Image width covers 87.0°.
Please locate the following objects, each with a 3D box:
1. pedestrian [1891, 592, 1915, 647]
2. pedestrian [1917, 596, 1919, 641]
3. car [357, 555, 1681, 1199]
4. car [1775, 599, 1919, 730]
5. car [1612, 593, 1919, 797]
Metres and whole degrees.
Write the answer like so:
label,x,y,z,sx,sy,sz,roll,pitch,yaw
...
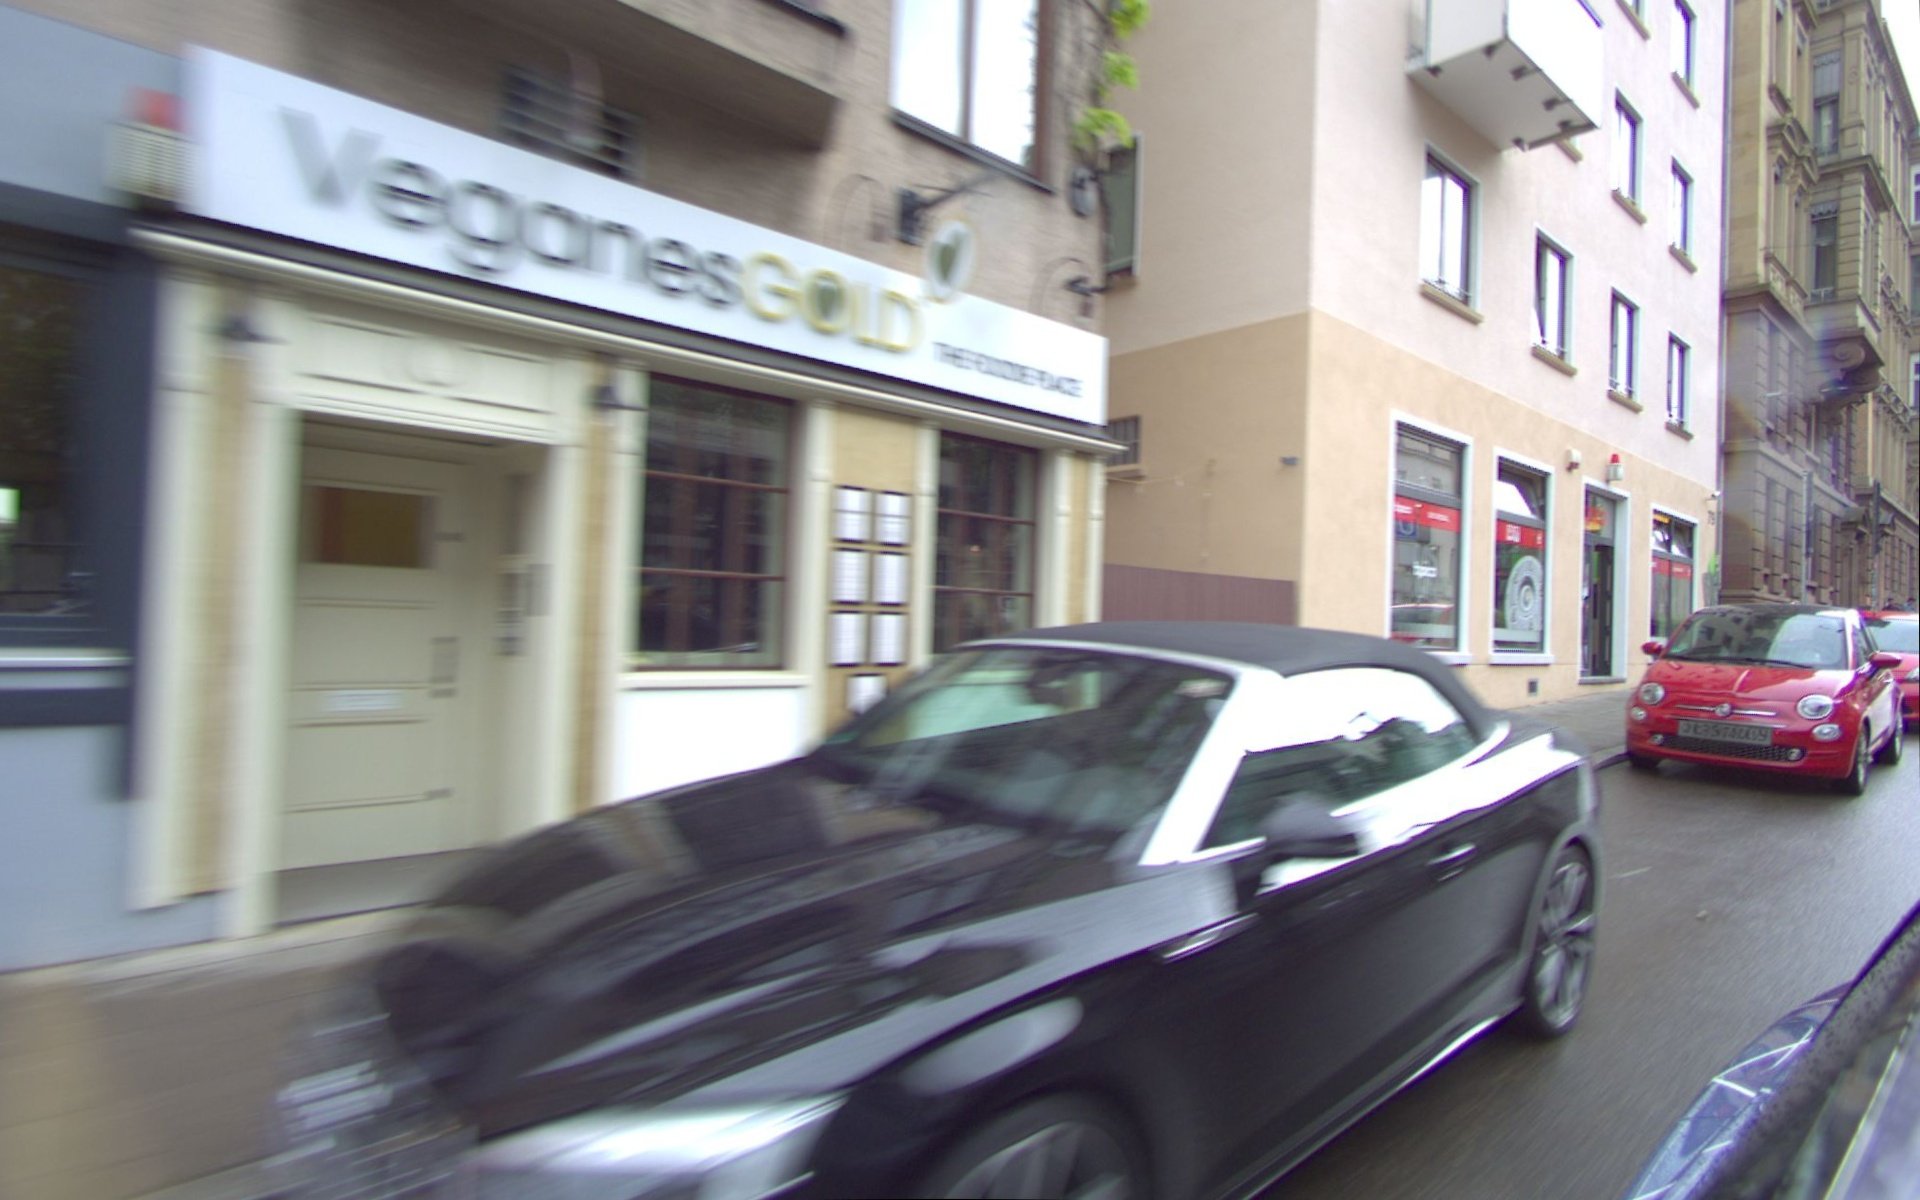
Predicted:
label,x,y,z,sx,sy,sz,roll,pitch,yaw
pedestrian,29.093,0.598,31.214,0.621,1.665,0.488,0,1,-45
pedestrian,35.186,0.677,36.802,0.456,1.665,0.484,0,1,-45
car,0.624,0.662,3.287,4.172,1.480,1.910,0,1,-42
car,12.106,0.753,13.183,3.384,1.480,1.719,0,1,-41
car,7.449,0.694,9.215,3.354,1.480,1.649,0,1,-41
